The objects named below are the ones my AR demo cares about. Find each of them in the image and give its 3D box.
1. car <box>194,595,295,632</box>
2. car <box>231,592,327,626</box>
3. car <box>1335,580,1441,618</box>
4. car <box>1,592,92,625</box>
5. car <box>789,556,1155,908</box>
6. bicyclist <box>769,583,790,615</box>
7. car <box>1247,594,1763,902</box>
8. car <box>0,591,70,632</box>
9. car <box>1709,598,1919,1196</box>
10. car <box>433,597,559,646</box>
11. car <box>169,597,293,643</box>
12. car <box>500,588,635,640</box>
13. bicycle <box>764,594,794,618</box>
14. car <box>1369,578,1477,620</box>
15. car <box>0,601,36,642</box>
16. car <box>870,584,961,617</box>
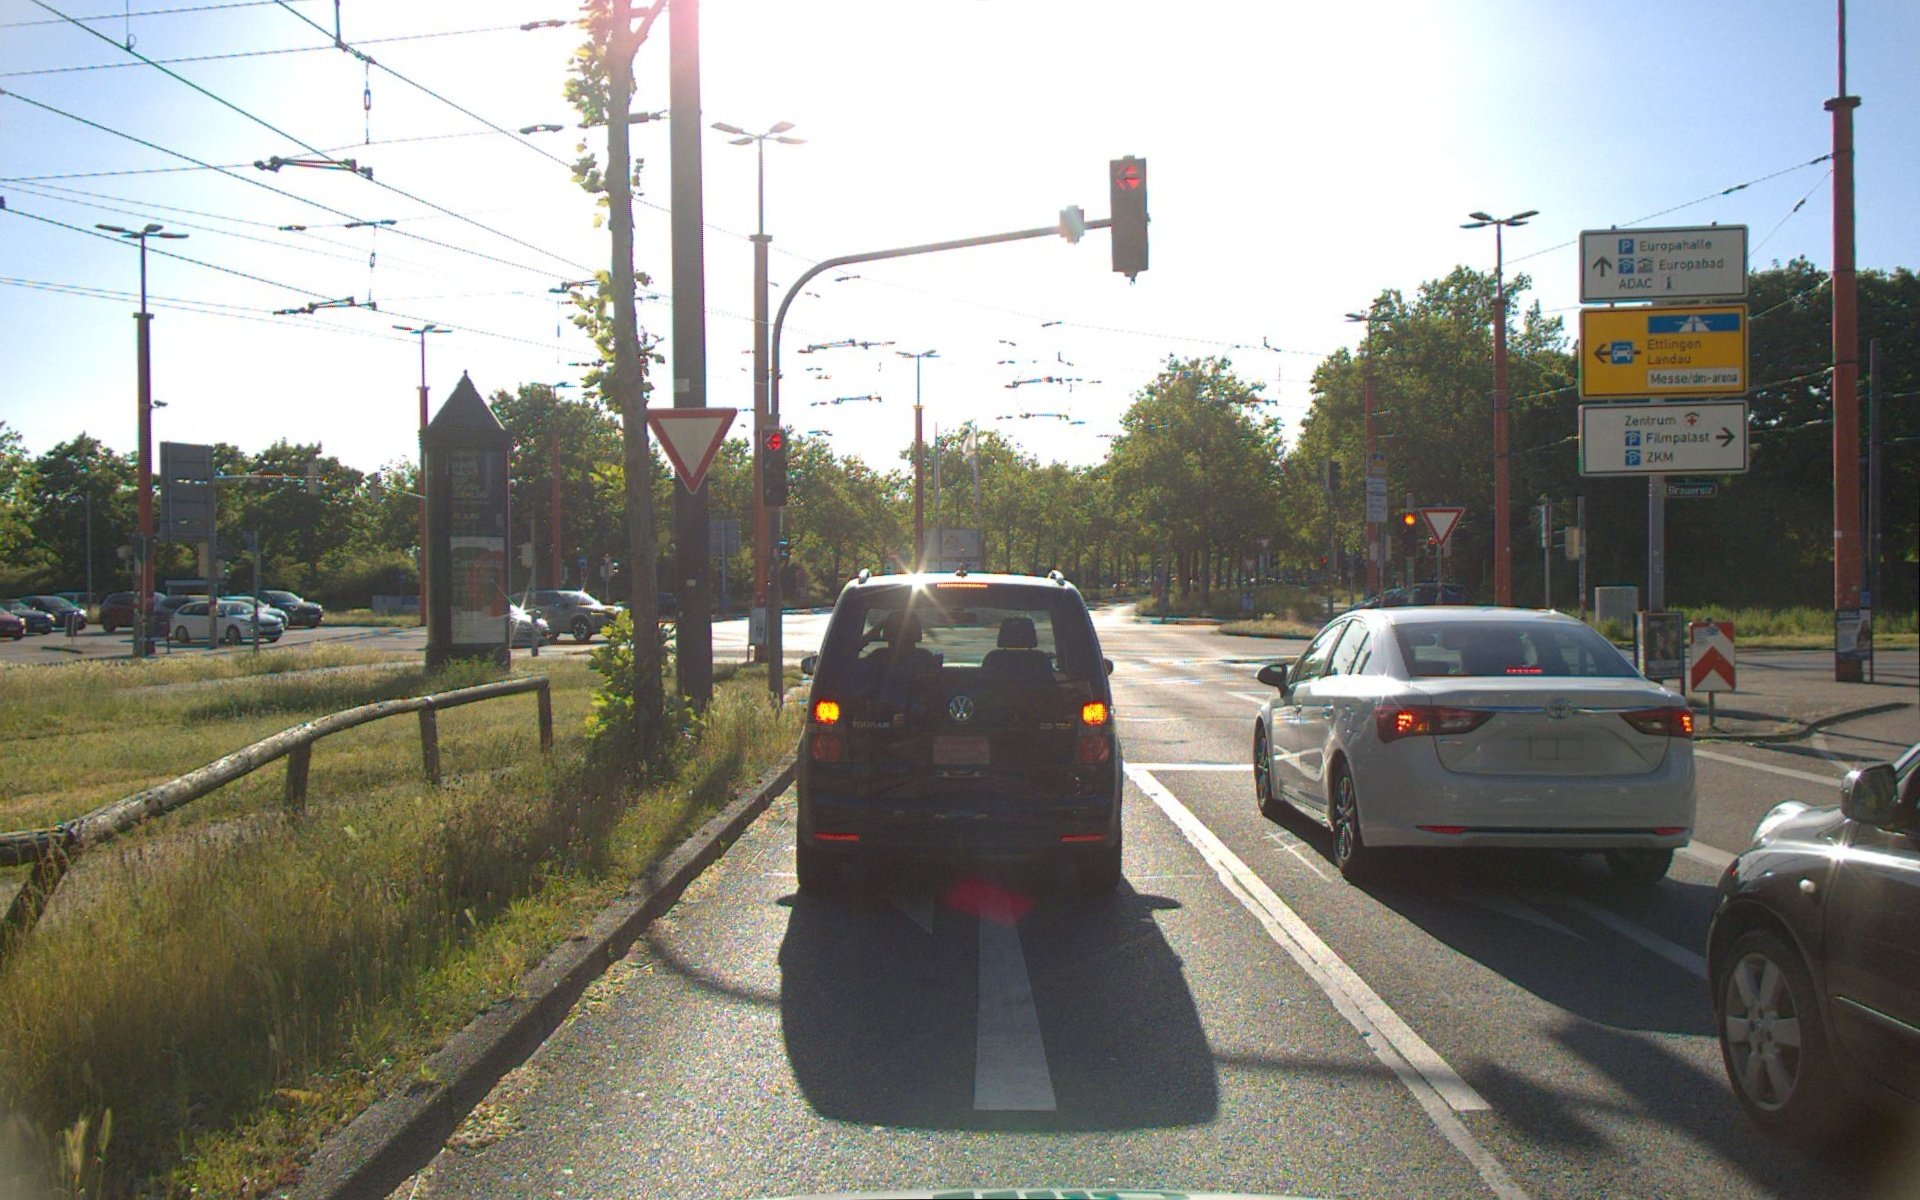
[{"bbox_3d":[-29.401,0.528,67.927,4.060,1.440,1.542,0,0,26],"label":"car"},{"bbox_3d":[-29.465,0.369,71.550,4.060,1.440,1.542,0,0,26],"label":"car"},{"bbox_3d":[16.980,-0.043,65.610,3.837,1.483,1.655,0,0,26],"label":"car"},{"bbox_3d":[-40.868,0.366,73.995,4.060,1.440,1.542,0,0,26],"label":"car"},{"bbox_3d":[0.071,0.633,9.964,1.703,1.630,4.326,1,0,0],"label":"car"},{"bbox_3d":[-10.906,-0.070,99.804,0.955,1.937,1.051,0,0,12],"label":"bicyclist"},{"bbox_3d":[3.019,0.726,10.186,1.762,1.465,4.326,1,0,0],"label":"car"},{"bbox_3d":[-39.962,0.473,70.137,4.541,1.676,1.753,0,0,30],"label":"car"},{"bbox_3d":[3.140,0.740,3.489,1.544,1.465,3.441,1,0,0],"label":"car"},{"bbox_3d":[-14.696,0.660,52.373,3.755,1.466,1.655,0,0,27],"label":"car"},{"bbox_3d":[-25.766,0.692,58.392,4.536,1.546,1.654,0,0,30],"label":"car"},{"bbox_3d":[-13.314,0.444,56.006,4.541,1.676,1.654,0,0,30],"label":"car"},{"bbox_3d":[-10.913,0.346,99.763,0.955,1.413,2.982,0,0,12],"label":"bicycle"},{"bbox_3d":[17.262,-0.040,61.666,3.715,1.537,1.656,0,0,23],"label":"car"},{"bbox_3d":[-38.118,0.827,64.650,4.107,1.546,1.654,0,0,30],"label":"car"},{"bbox_3d":[-2.025,0.021,75.360,3.837,1.483,1.655,0,0,26],"label":"car"}]
